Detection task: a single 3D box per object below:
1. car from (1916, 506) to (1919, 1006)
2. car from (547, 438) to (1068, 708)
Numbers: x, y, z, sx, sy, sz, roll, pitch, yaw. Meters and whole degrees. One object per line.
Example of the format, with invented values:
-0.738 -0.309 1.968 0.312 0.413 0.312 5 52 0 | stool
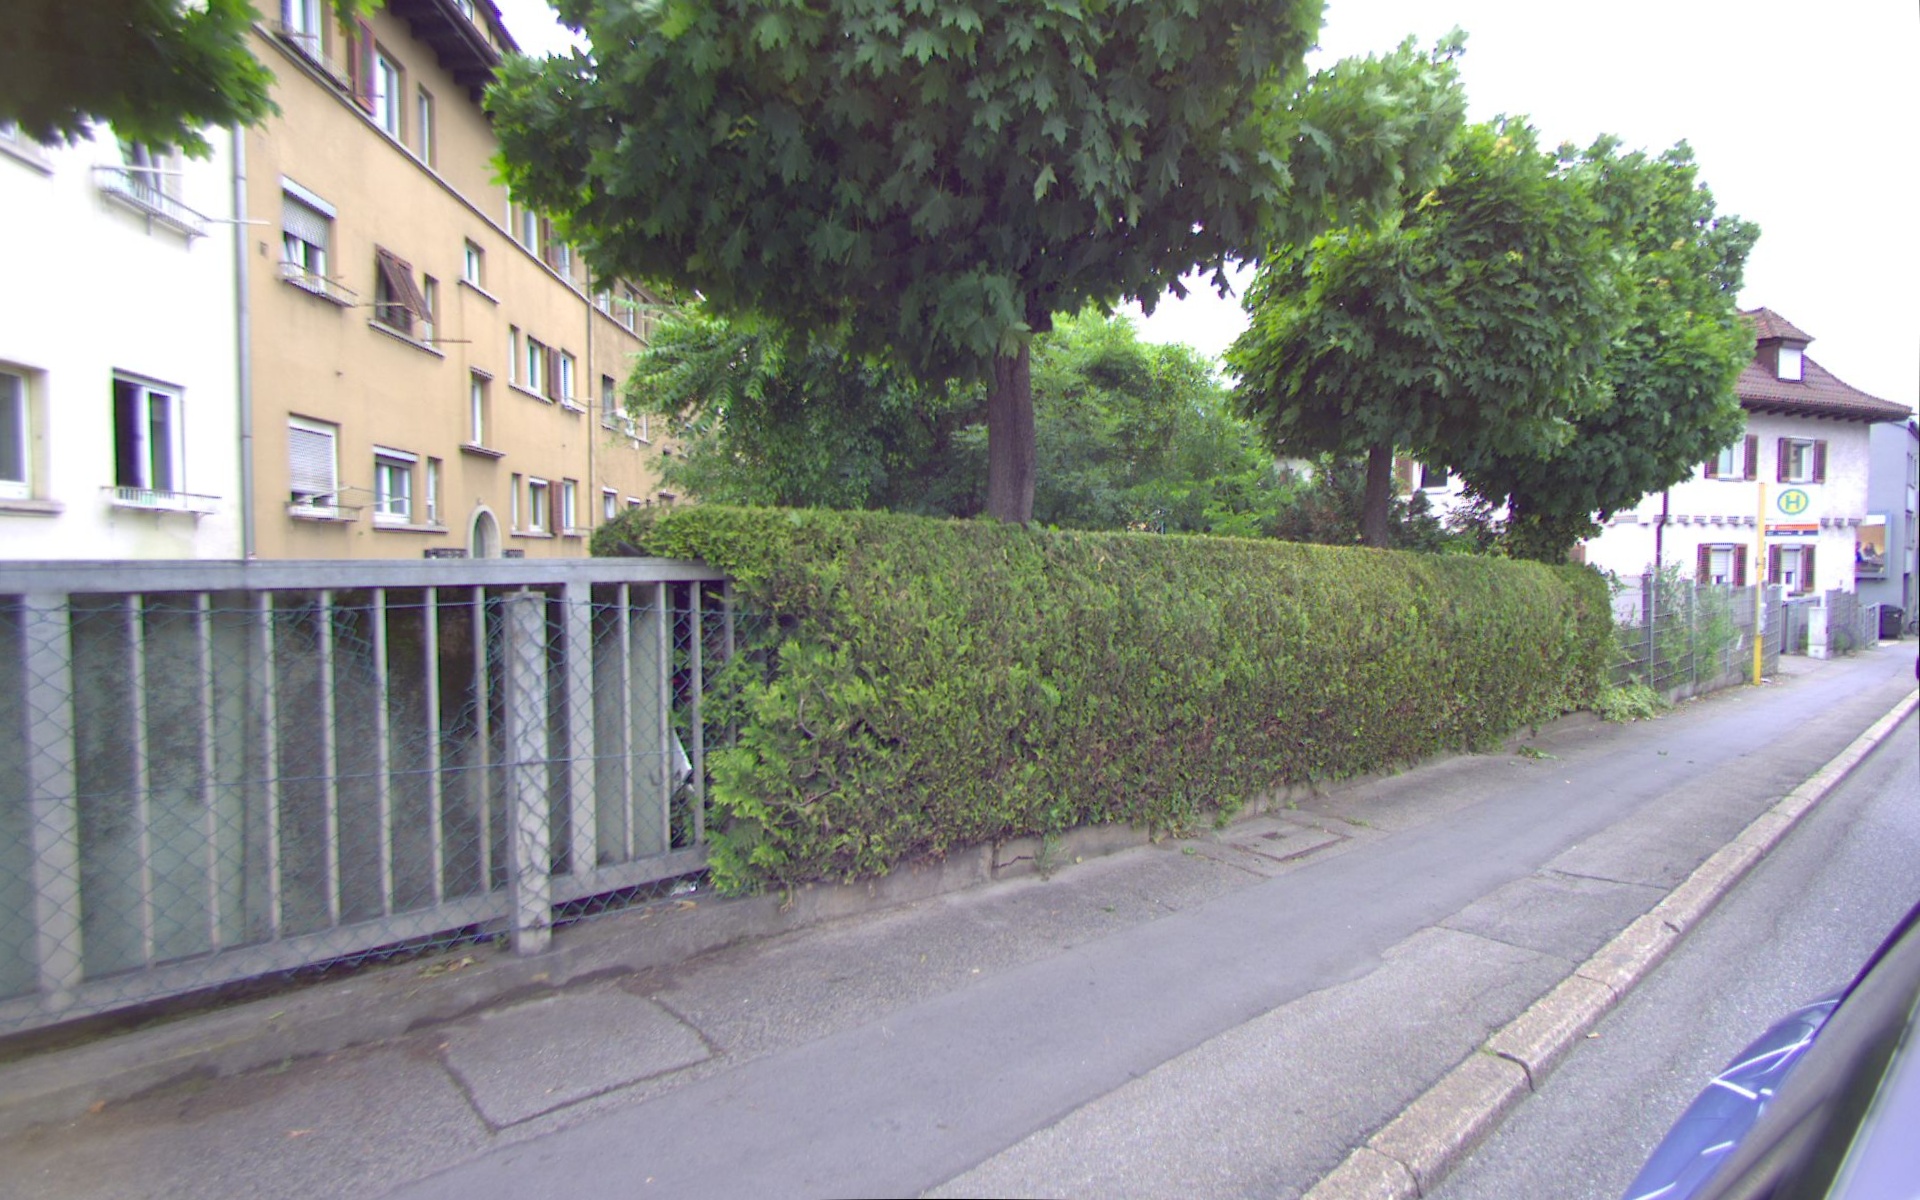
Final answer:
5.804 0.543 4.463 4.629 1.804 1.861 -1 0 -41 | car
-0.970 -0.168 7.326 3.381 1.478 1.698 -1 0 -43 | car
